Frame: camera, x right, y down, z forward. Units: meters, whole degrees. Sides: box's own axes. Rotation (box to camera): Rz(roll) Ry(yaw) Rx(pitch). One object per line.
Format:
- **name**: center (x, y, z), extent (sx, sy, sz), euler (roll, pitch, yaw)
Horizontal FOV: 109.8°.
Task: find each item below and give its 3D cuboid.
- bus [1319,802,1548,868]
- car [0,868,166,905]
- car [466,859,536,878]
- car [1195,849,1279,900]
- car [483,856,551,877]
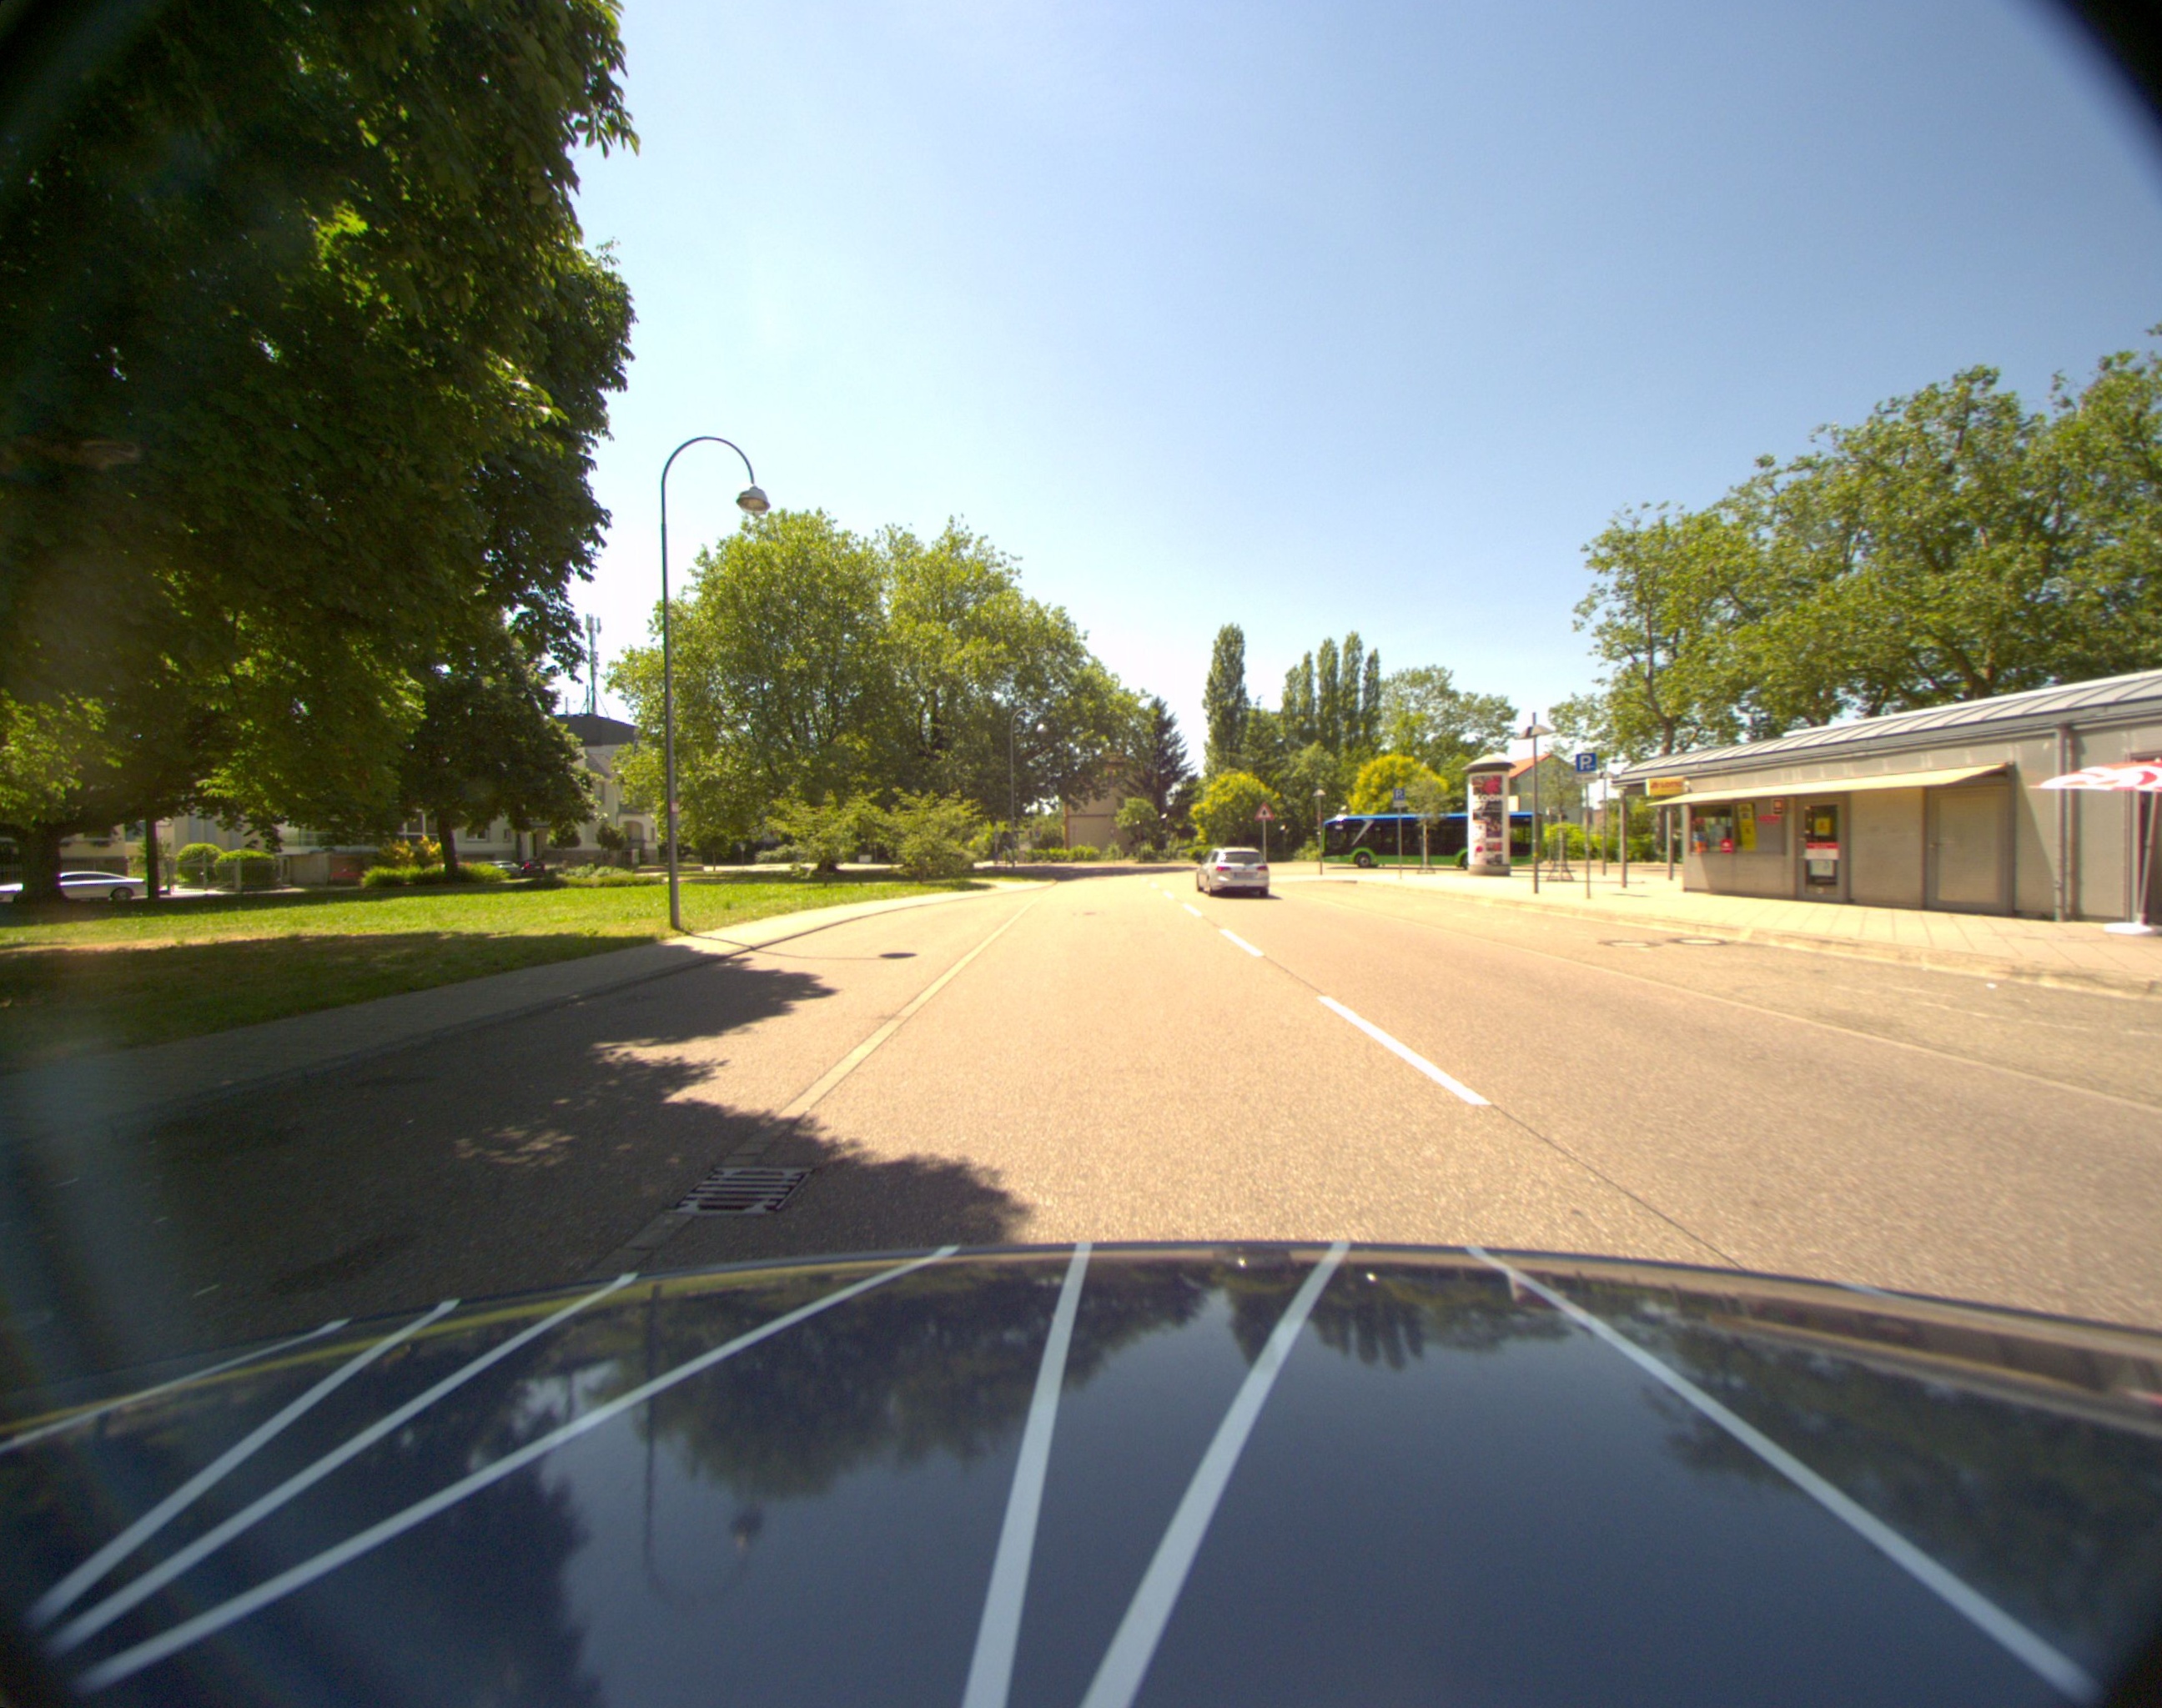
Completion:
- **bus**: center (20.528, -0.952, 45.224), extent (12.187, 3.506, 2.173), euler (-1, 1, 39)
- **car**: center (-45.688, 1.423, 34.641), extent (1.667, 1.280, 4.719), euler (0, 2, 16)
- **car**: center (-44.186, 1.091, 57.958), extent (3.994, 1.383, 2.001), euler (-1, 1, 9)
- **car**: center (4.646, 0.562, 23.211), extent (1.819, 1.436, 4.158), euler (0, 0, 2)
- **car**: center (-44.706, 0.983, 60.259), extent (3.995, 1.559, 2.001), euler (-1, 1, 6)
